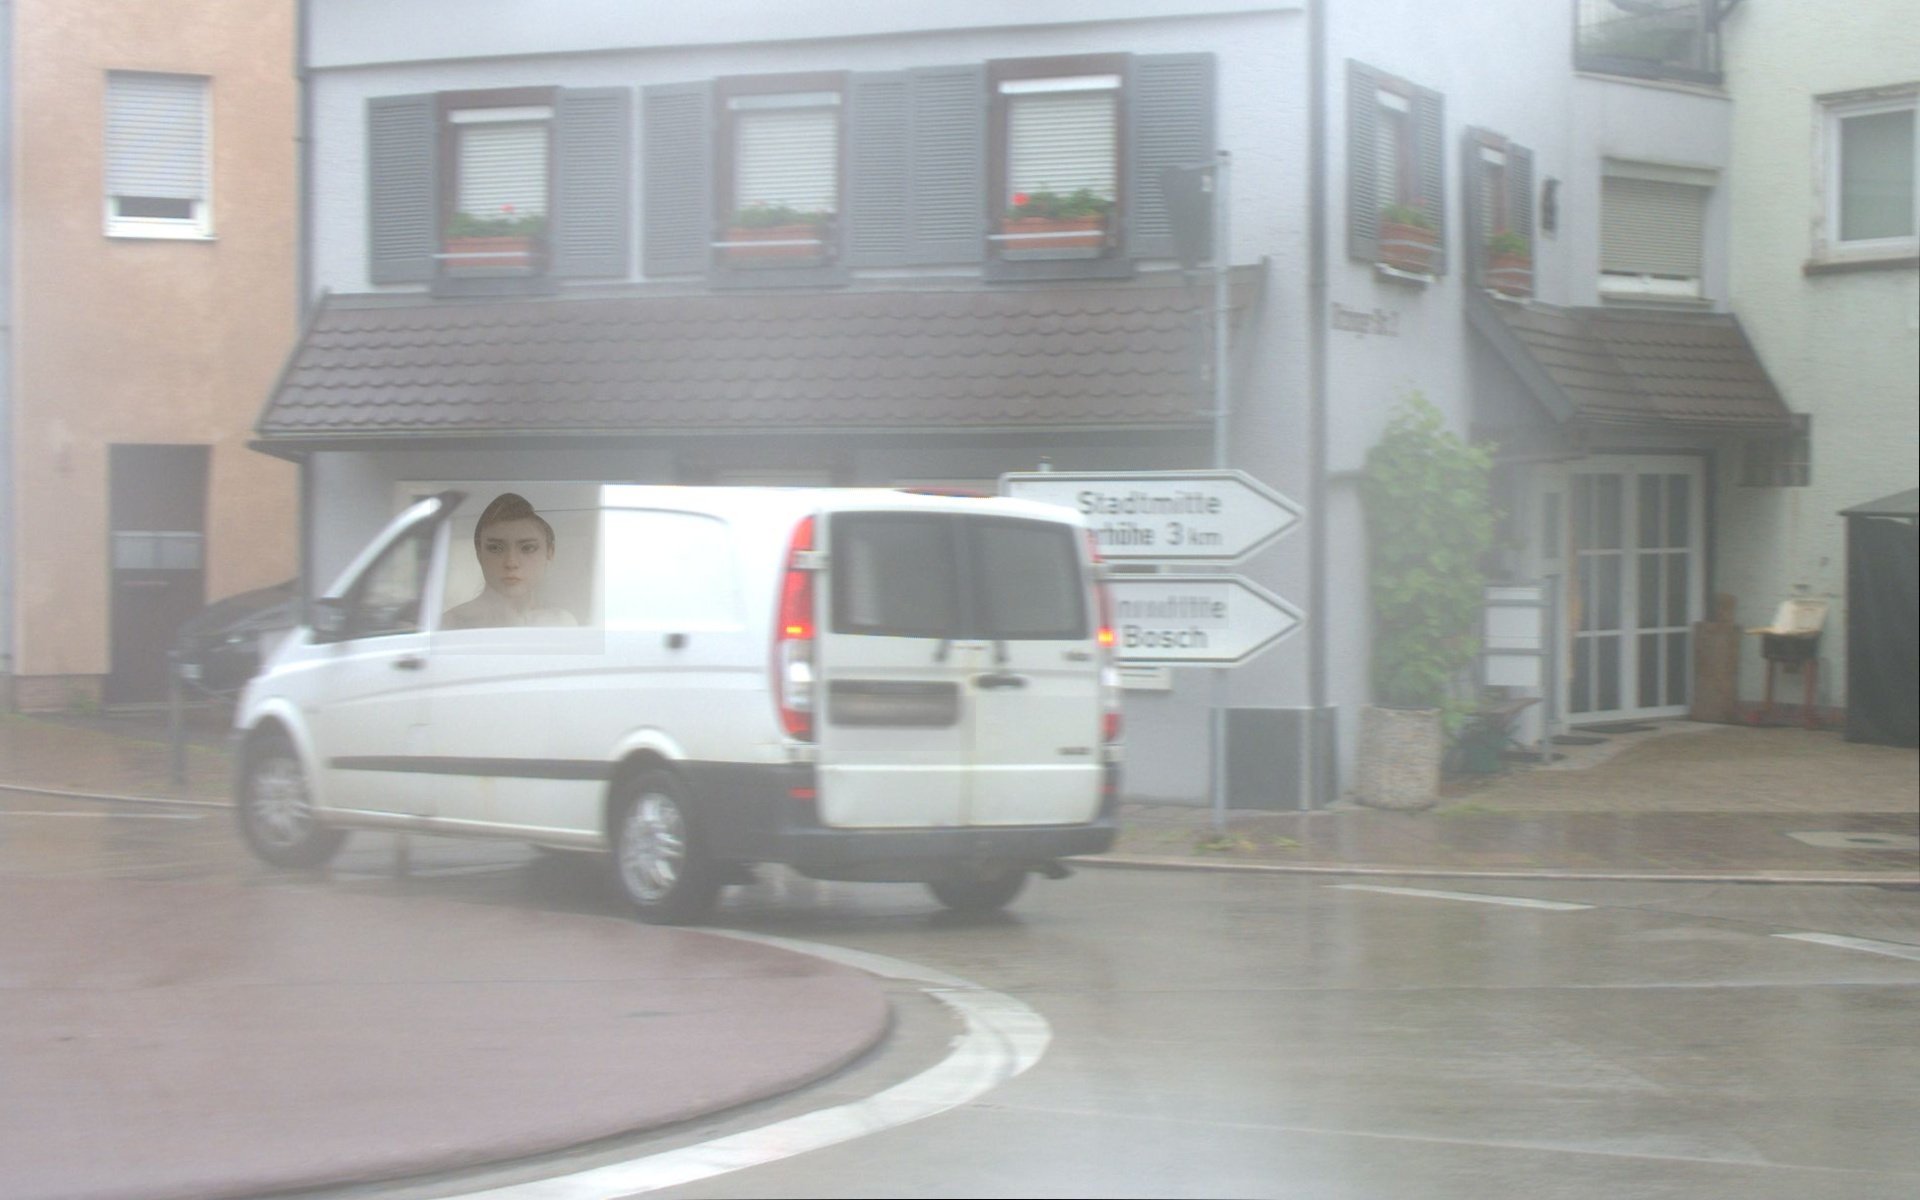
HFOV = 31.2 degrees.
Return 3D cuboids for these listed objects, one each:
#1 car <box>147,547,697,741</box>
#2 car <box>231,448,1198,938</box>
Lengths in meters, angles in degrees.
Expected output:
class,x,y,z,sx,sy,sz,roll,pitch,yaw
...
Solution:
class,x,y,z,sx,sy,sz,roll,pitch,yaw
car,-4.384,0.345,28.156,3.987,1.481,2.000,0,0,-34
car,-1.325,0.372,15.903,2.153,1.892,4.924,0,0,-37
